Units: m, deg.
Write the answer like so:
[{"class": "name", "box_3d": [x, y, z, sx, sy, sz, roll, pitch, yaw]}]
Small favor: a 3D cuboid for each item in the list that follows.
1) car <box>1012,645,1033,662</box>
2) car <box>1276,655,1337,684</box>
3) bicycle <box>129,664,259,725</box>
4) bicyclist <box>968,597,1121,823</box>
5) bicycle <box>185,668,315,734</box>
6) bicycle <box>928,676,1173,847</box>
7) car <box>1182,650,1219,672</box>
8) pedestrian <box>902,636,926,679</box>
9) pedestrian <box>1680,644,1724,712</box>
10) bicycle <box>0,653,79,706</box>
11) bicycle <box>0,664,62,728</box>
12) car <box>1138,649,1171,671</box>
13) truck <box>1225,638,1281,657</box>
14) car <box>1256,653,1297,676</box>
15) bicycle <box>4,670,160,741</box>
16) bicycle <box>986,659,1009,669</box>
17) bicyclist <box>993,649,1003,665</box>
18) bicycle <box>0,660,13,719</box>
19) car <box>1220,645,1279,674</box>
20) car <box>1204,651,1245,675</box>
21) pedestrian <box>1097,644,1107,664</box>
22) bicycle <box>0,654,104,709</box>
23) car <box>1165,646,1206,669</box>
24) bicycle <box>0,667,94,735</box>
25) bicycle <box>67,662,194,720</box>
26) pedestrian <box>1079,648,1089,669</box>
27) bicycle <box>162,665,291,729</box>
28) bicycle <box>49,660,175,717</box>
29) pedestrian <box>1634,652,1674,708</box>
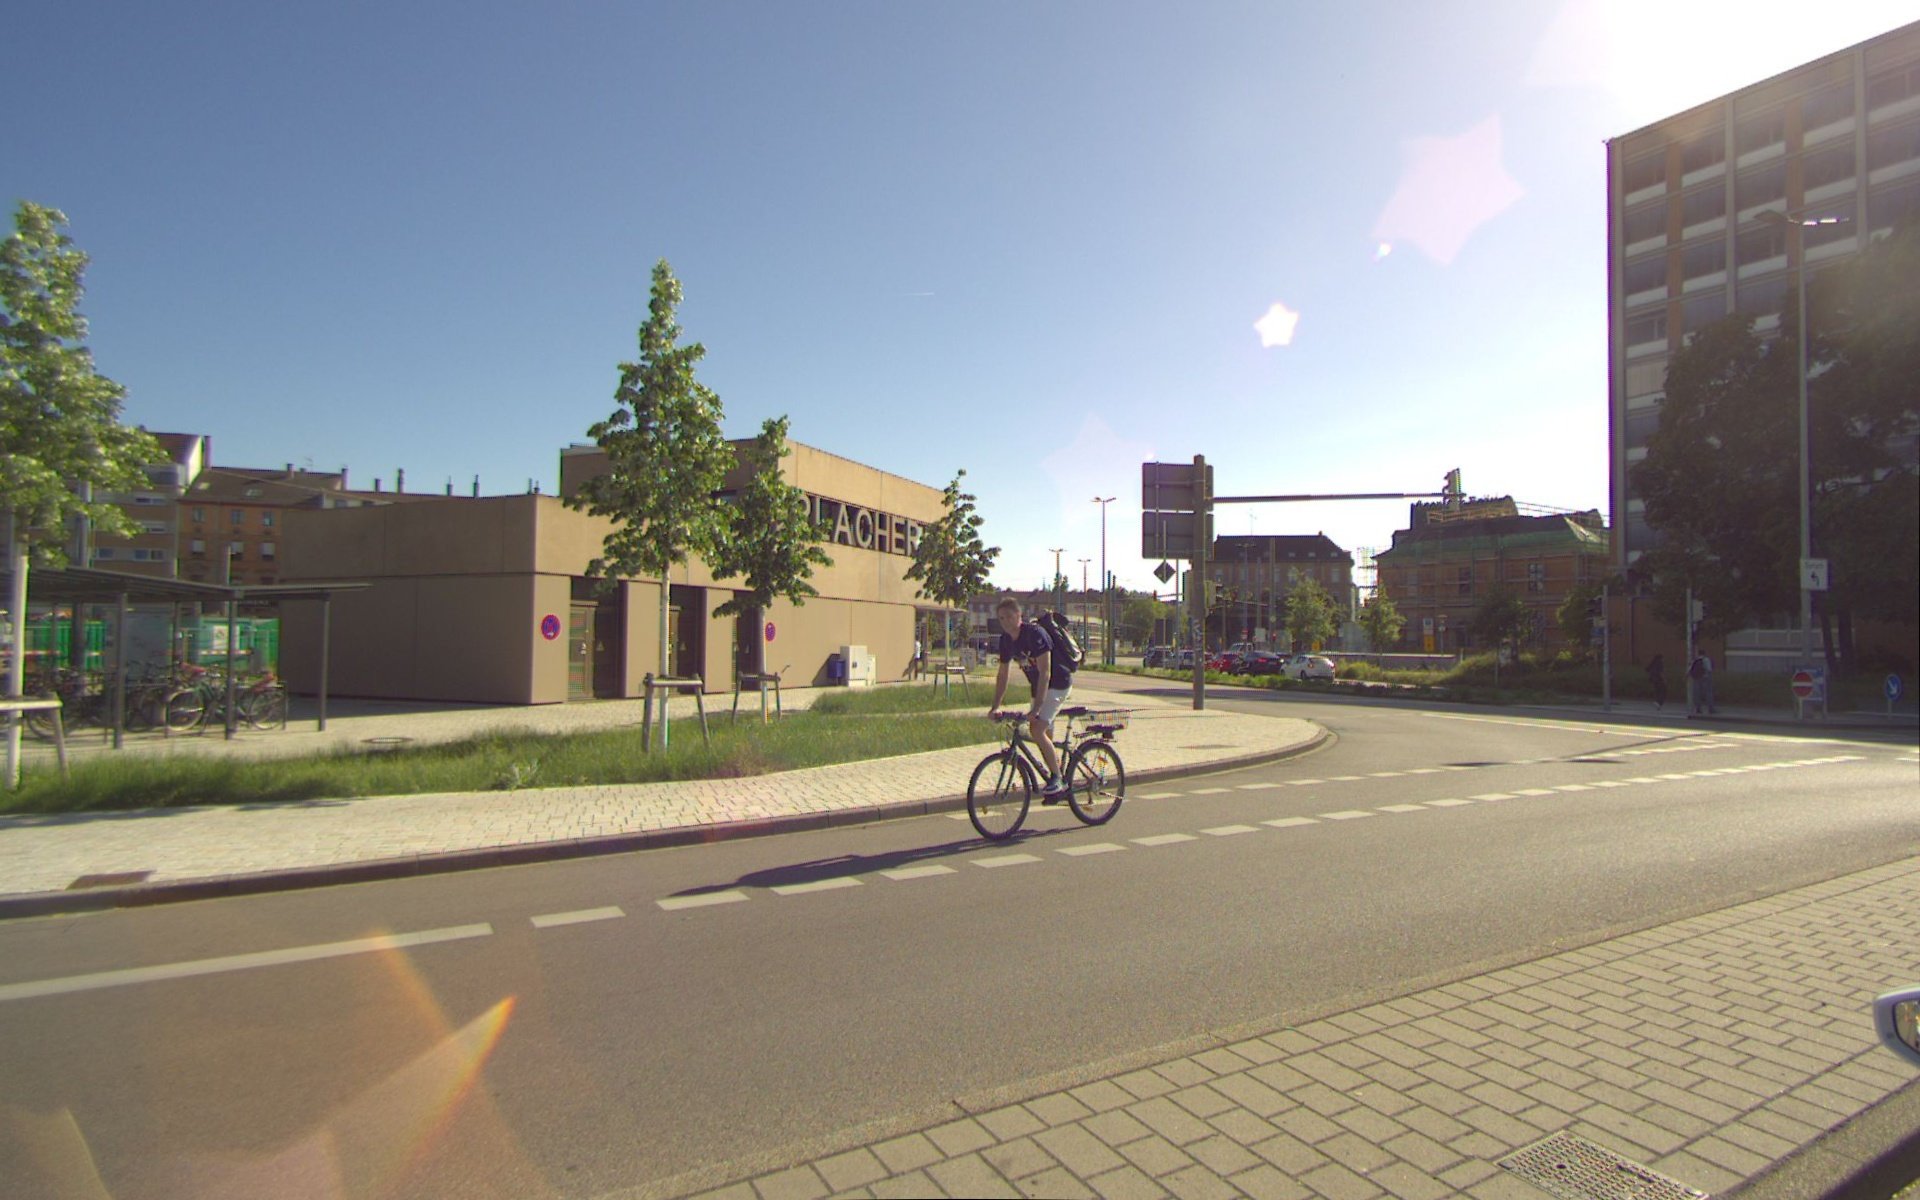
[{"class": "car", "box_3d": [8.427, 7.246, 135.486, 1.960, 2.040, 4.002, 2, 0, 16]}, {"class": "car", "box_3d": [18.864, 3.754, 54.784, 1.665, 1.454, 3.733, 1, -3, -7]}, {"class": "bicycle", "box_3d": [-13.906, 1.688, 18.296, 0.558, 1.051, 1.785, -2, -4, 30]}, {"class": "bicyclist", "box_3d": [0.653, 0.828, 7.879, 0.966, 1.642, 0.716, 2, -3, -30]}, {"class": "bicycle", "box_3d": [-12.103, 1.698, 17.192, 0.557, 1.051, 1.788, -1, -4, 22]}, {"class": "bicycle", "box_3d": [0.728, 1.201, 7.907, 1.848, 1.180, 0.742, 2, -4, -31]}, {"class": "car", "box_3d": [17.765, 4.519, 74.426, 1.697, 1.461, 3.799, 3, -3, -2]}, {"class": "pedestrian", "box_3d": [-1.899, 2.372, 41.406, 0.778, 1.745, 0.594, -2, -5, 37]}, {"class": "pedestrian", "box_3d": [20.881, 2.183, 28.269, 1.086, 1.856, 0.748, 4, -3, -38]}, {"class": "bicycle", "box_3d": [-19.135, 1.607, 20.406, 0.557, 1.051, 1.788, -1, -4, 22]}, {"class": "bicycle", "box_3d": [-16.092, 1.589, 16.591, 0.557, 1.051, 1.788, -1, -4, 22]}, {"class": "car", "box_3d": [14.275, 4.363, 73.830, 1.696, 1.461, 3.912, 3, -3, 2]}, {"class": "truck", "box_3d": [36.928, 6.002, 126.570, 6.779, 2.343, 2.212, 2, -3, -20]}, {"class": "car", "box_3d": [23.393, 4.743, 74.244, 1.846, 1.638, 3.626, 2, -3, 0]}, {"class": "bicycle", "box_3d": [-13.926, 1.643, 16.001, 0.557, 1.051, 1.788, -1, -4, 22]}, {"class": "bicycle", "box_3d": [3.059, 5.200, 82.248, 1.709, 0.754, 0.641, 2, 0, -17]}, {"class": "bicyclist", "box_3d": [3.119, 4.681, 82.256, 0.682, 1.243, 0.641, 2, 0, -17]}, {"class": "bicycle", "box_3d": [-17.496, 1.548, 17.181, 0.557, 1.051, 1.788, -1, -4, 22]}, {"class": "car", "box_3d": [17.782, 3.638, 61.843, 1.953, 1.645, 4.374, 1, -3, -7]}, {"class": "car", "box_3d": [17.834, 4.213, 67.979, 1.644, 1.461, 3.722, 3, -3, -2]}, {"class": "pedestrian", "box_3d": [11.833, 4.524, 83.604, 0.643, 1.632, 0.676, 2, 0, -4]}, {"class": "bicycle", "box_3d": [-18.458, 1.627, 20.224, 0.557, 1.051, 1.788, -1, -4, 22]}, {"class": "car", "box_3d": [15.046, 3.821, 67.142, 1.697, 1.461, 3.798, 2, -3, -4]}, {"class": "bicycle", "box_3d": [-15.196, 1.614, 16.192, 0.557, 1.051, 1.788, -1, -4, 22]}, {"class": "bicycle", "box_3d": [-15.806, 1.705, 19.198, 0.557, 1.051, 1.788, -1, -4, 22]}, {"class": "pedestrian", "box_3d": [9.944, 4.665, 80.580, 0.566, 1.632, 0.564, 2, 0, -30]}, {"class": "bicycle", "box_3d": [-12.894, 1.686, 17.716, 0.557, 1.051, 1.788, -1, -4, 22]}, {"class": "bicycle", "box_3d": [-16.360, 1.689, 19.435, 0.557, 1.051, 1.788, -1, -4, 22]}, {"class": "pedestrian", "box_3d": [20.559, 2.354, 29.775, 0.672, 1.633, 0.716, 2, -3, -21]}]
